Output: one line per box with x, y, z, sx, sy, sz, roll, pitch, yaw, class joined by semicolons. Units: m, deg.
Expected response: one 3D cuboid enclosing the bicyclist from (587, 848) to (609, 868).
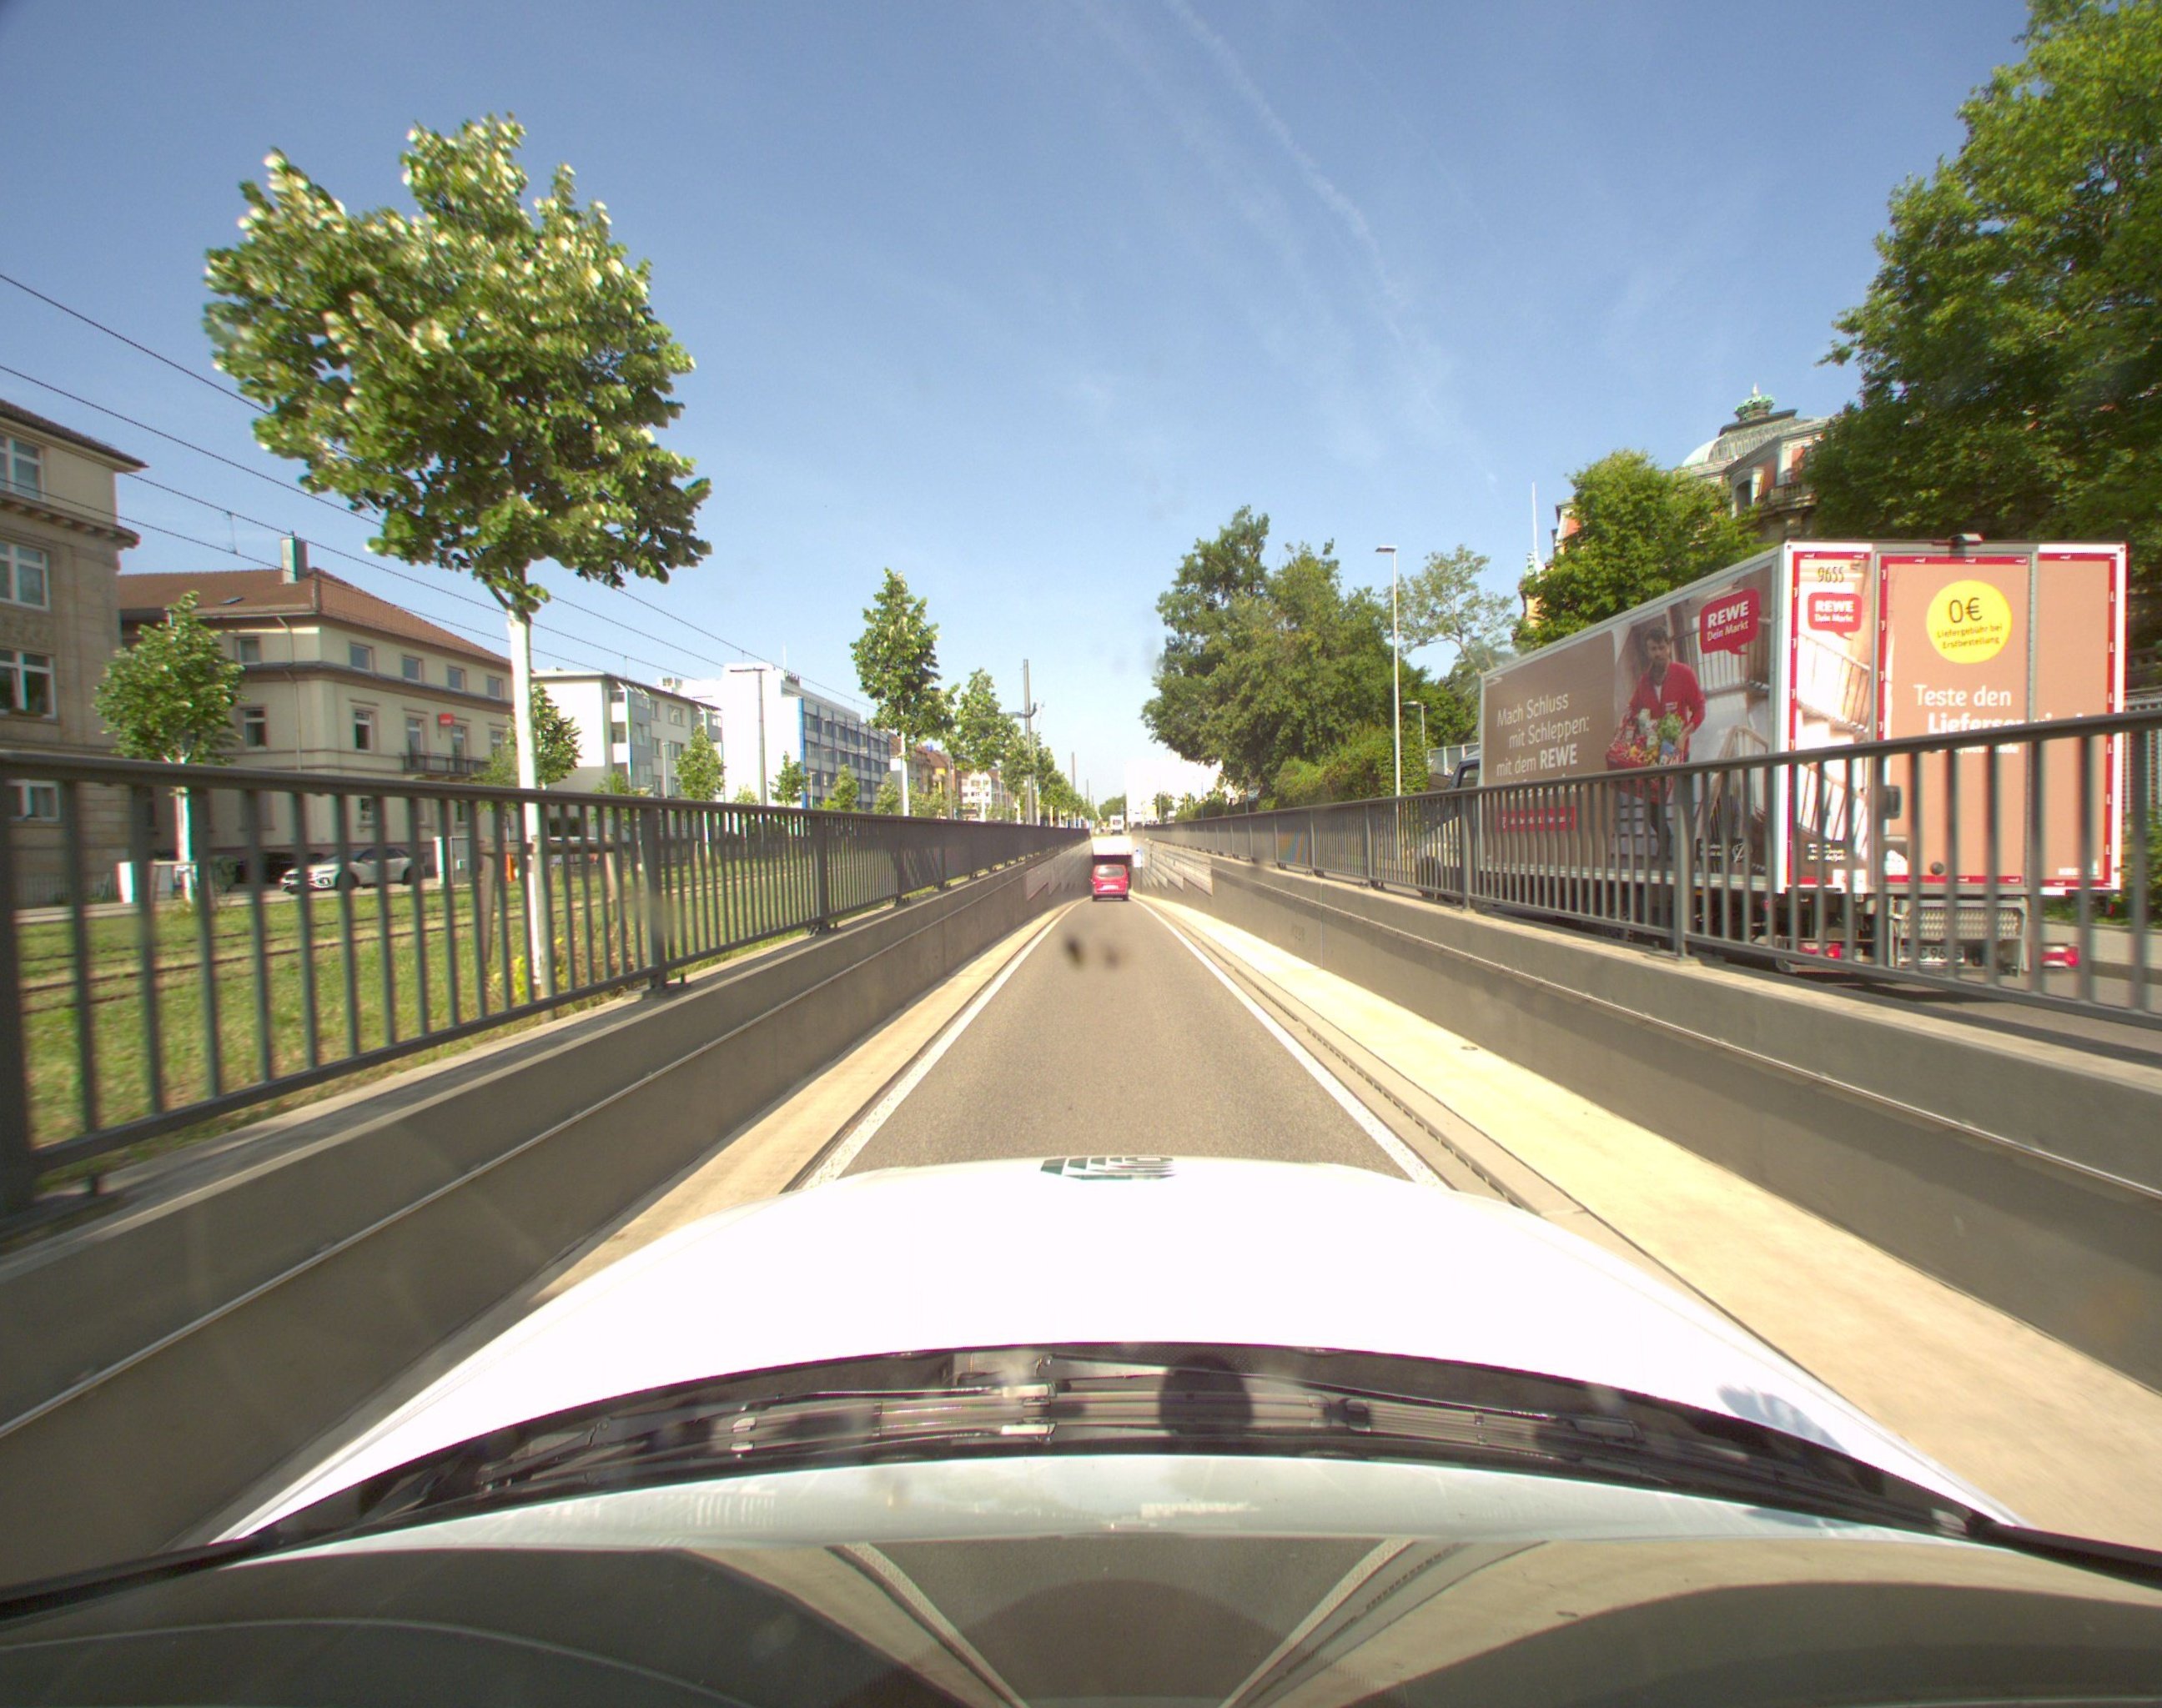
-27.867;0.218;47.020;0.530;1.178;1.251;0;0;0;bicyclist

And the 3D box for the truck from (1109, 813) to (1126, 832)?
7.588;-6.433;169.313;3.378;3.725;10.457;-2;1;2;truck

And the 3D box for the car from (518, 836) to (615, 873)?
-29.855;0.042;47.491;2.241;2.013;5.264;0;0;1;car

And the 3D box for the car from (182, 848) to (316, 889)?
-36.183;0.617;35.488;3.976;1.552;1.653;-2;1;-2;car

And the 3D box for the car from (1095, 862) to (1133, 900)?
1.698;1.375;42.669;1.894;1.859;4.002;0;0;2;car

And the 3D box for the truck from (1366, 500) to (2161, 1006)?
5.666;-0.689;8.864;2.493;3.060;7.822;0;1;1;truck

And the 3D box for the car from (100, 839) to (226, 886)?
-41.292;0.367;36.677;3.906;2.014;1.602;0;0;2;car

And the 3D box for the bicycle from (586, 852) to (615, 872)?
-27.863;0.451;47.246;0.530;1.093;1.876;0;0;0;bicycle

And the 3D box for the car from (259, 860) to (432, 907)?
-25.986;1.004;29.032;1.985;1.467;4.441;-1;0;3;car
